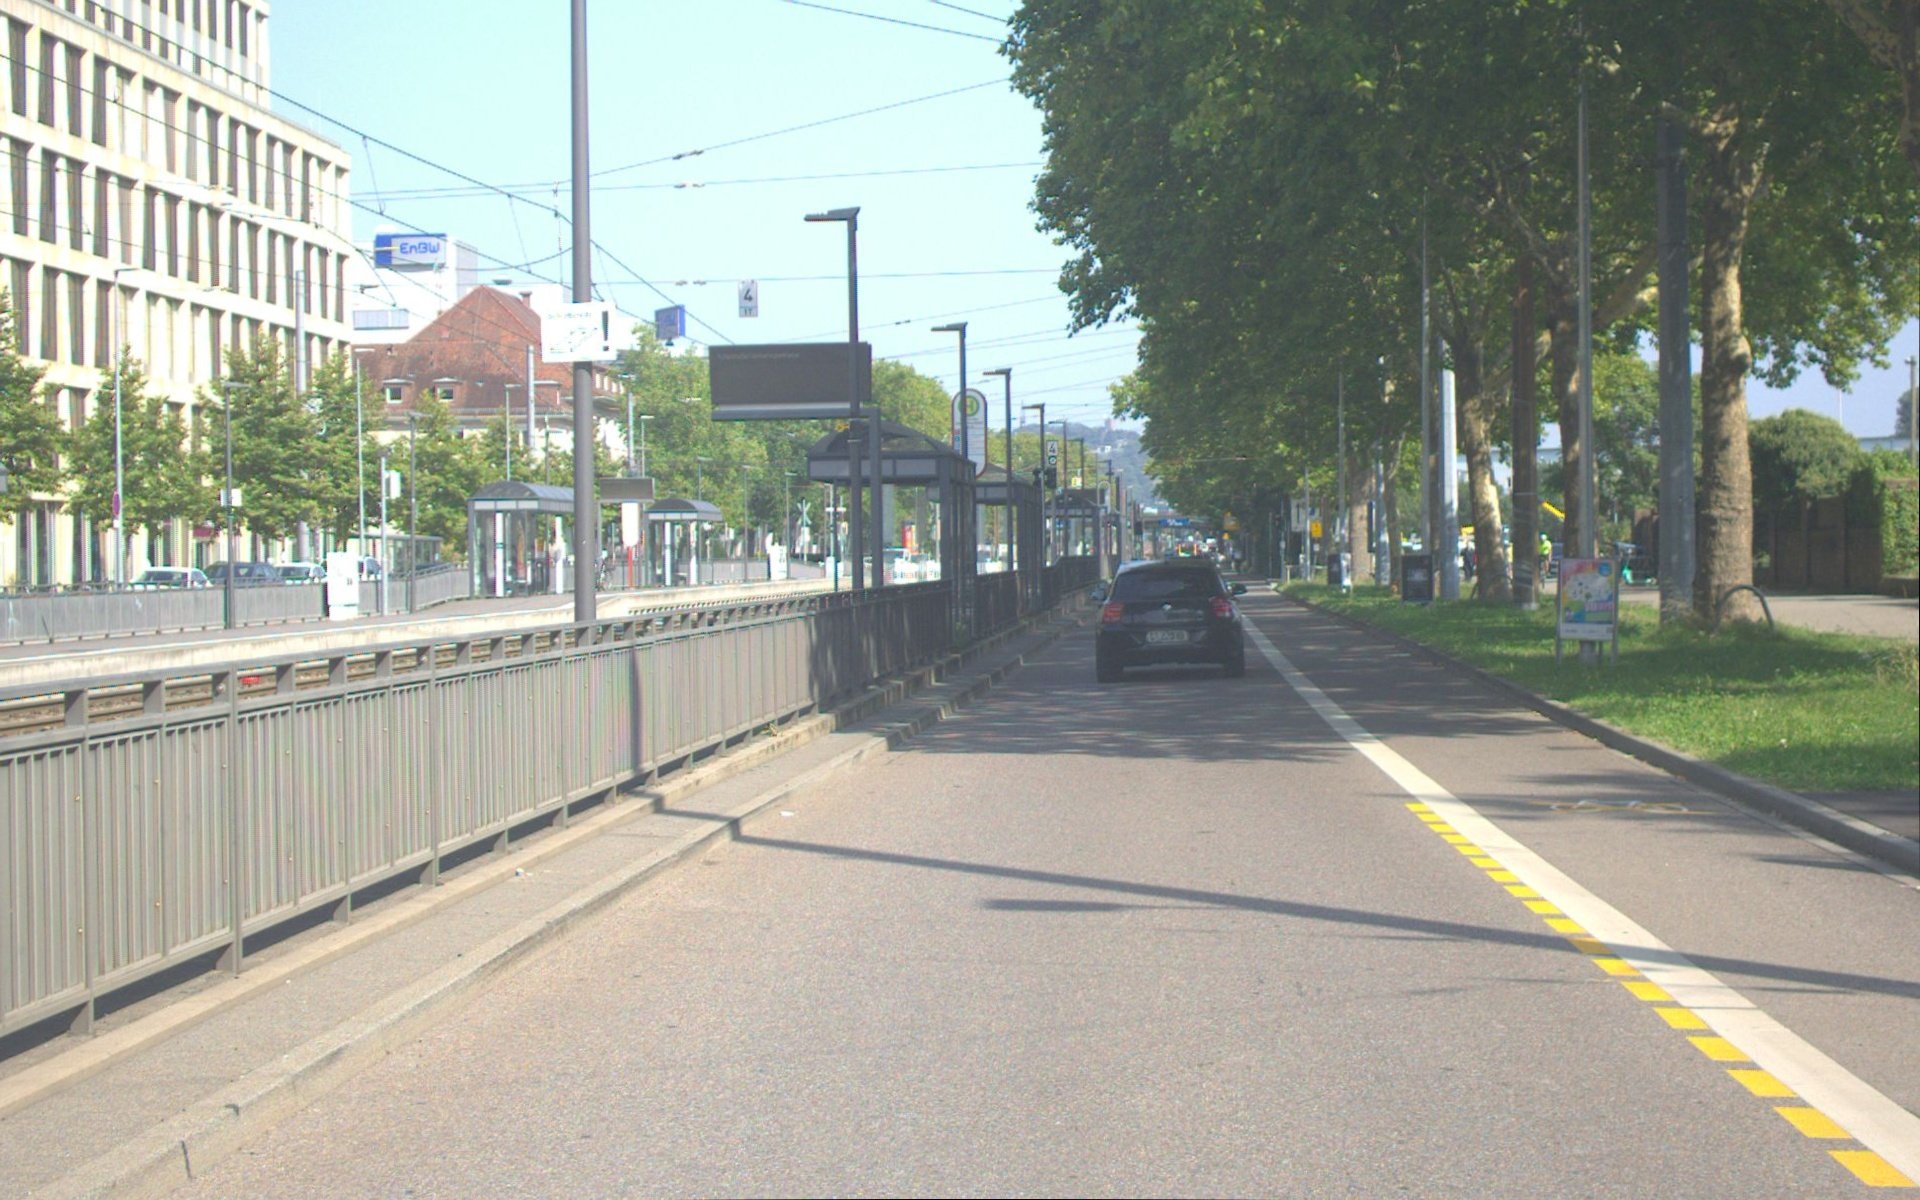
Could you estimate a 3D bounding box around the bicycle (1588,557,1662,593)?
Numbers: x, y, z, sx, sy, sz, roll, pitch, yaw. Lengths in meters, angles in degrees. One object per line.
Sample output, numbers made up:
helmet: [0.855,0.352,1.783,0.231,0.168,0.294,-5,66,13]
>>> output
bicycle: [20.750,-0.771,107.248,2.173,1.073,0.743,-1,0,3]

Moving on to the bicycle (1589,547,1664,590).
bicycle: [21.653,-1.025,111.714,2.244,1.273,0.998,-3,-1,4]

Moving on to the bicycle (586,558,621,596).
bicycle: [-10.850,-0.695,104.761,0.471,1.143,1.482,0,0,19]

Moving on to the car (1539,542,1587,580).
car: [25.826,-1.684,147.307,1.608,1.570,3.796,-2,1,4]

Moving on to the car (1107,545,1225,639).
car: [3.765,-0.163,62.909,1.973,1.532,4.000,-4,0,3]

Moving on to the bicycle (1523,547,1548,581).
bicycle: [17.409,-1.084,103.931,0.548,1.003,1.713,-1,1,3]

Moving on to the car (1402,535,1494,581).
car: [22.669,-1.950,159.773,4.104,1.912,1.847,-2,0,7]

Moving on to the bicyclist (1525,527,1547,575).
bicyclist: [17.407,-1.487,103.914,0.548,1.448,0.842,-1,1,4]

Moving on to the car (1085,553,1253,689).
car: [2.561,0.222,42.238,1.907,1.532,4.000,-2,0,3]

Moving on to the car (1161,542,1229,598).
car: [6.779,-0.880,99.533,1.907,1.532,4.000,-1,1,4]

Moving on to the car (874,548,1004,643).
car: [-0.352,-0.110,63.509,1.994,1.554,4.000,-4,1,4]
